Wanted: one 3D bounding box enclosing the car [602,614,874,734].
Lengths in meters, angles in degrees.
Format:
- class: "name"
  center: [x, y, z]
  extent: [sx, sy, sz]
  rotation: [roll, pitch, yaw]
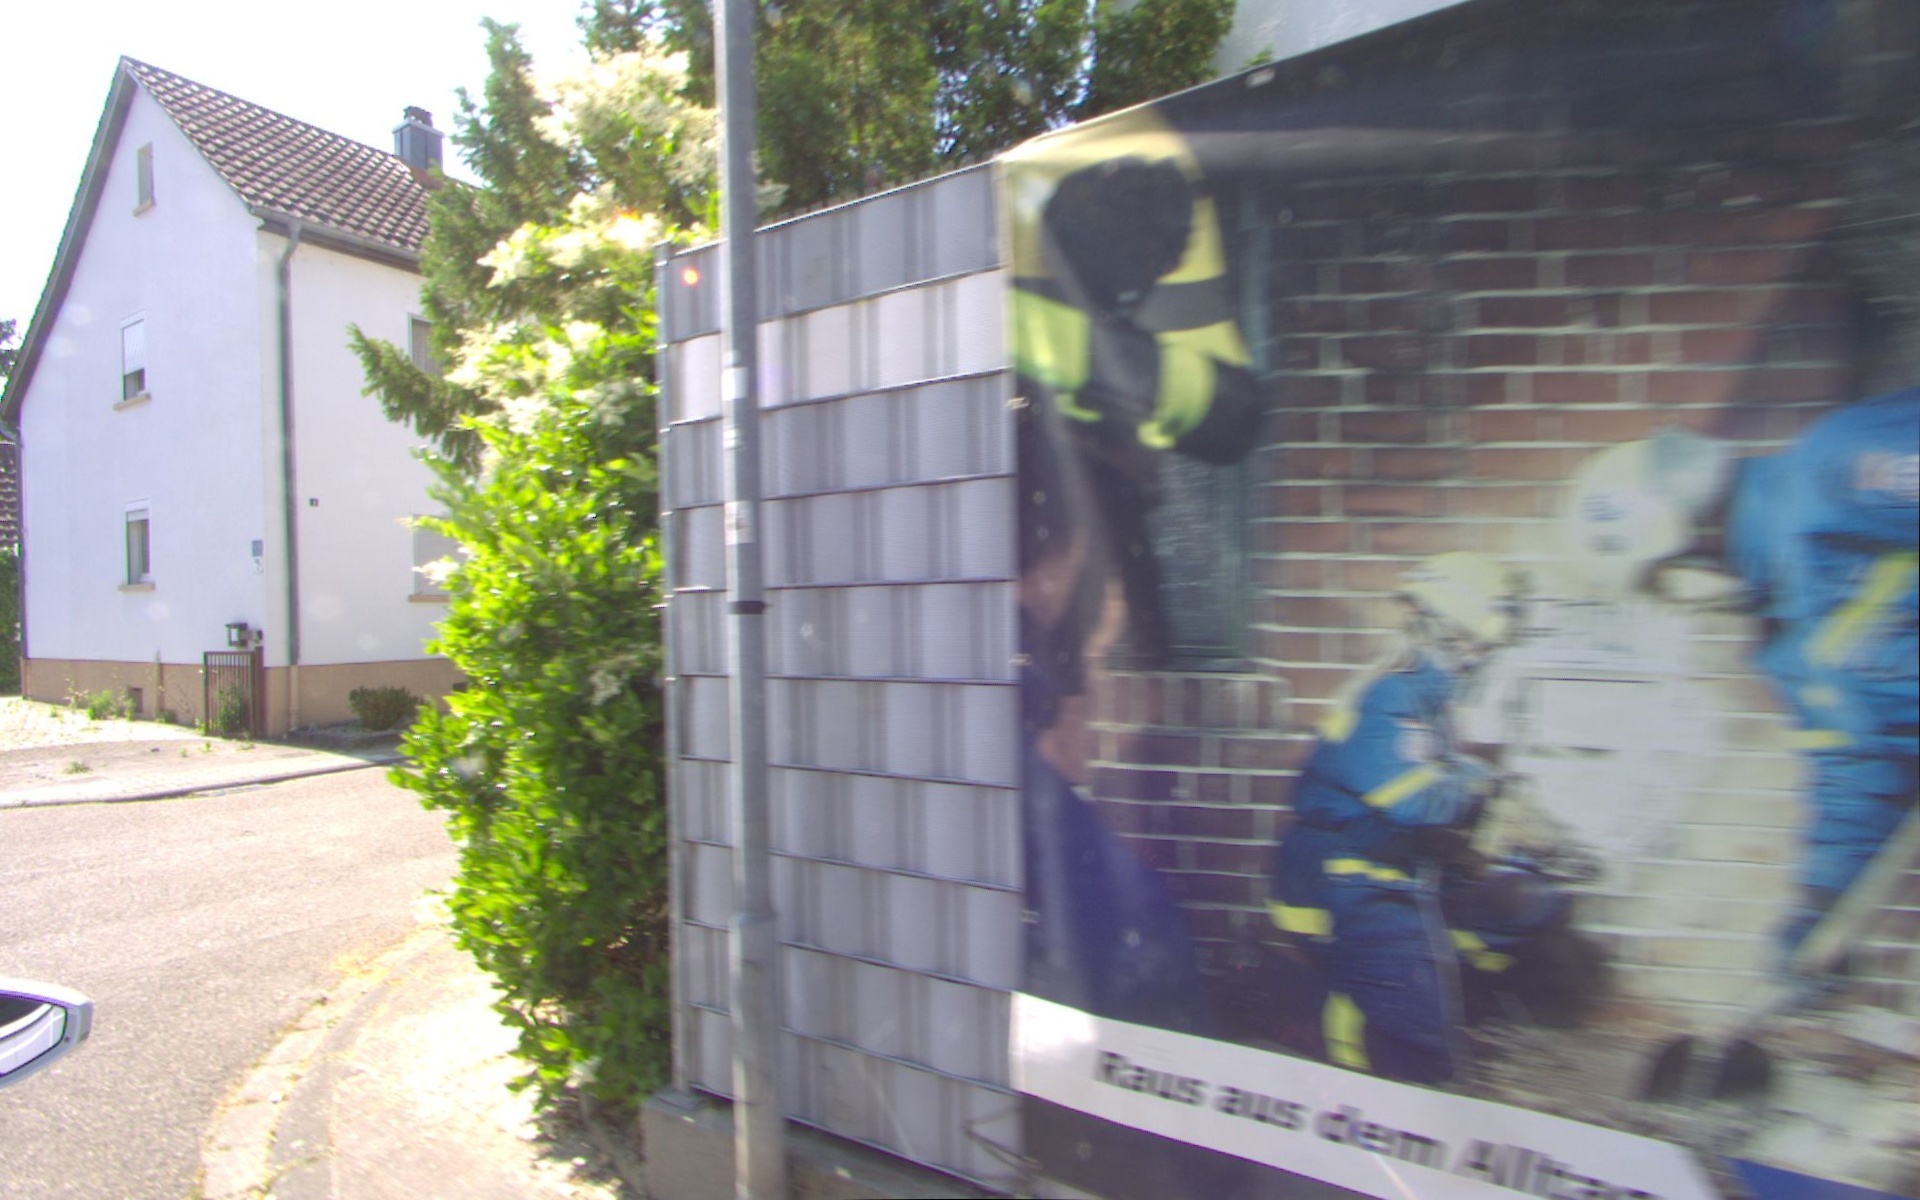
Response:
- class: "car"
  center: [-3.218, 1.006, 15.234]
  extent: [1.771, 1.550, 3.978]
  rotation: [-1, -1, 32]
